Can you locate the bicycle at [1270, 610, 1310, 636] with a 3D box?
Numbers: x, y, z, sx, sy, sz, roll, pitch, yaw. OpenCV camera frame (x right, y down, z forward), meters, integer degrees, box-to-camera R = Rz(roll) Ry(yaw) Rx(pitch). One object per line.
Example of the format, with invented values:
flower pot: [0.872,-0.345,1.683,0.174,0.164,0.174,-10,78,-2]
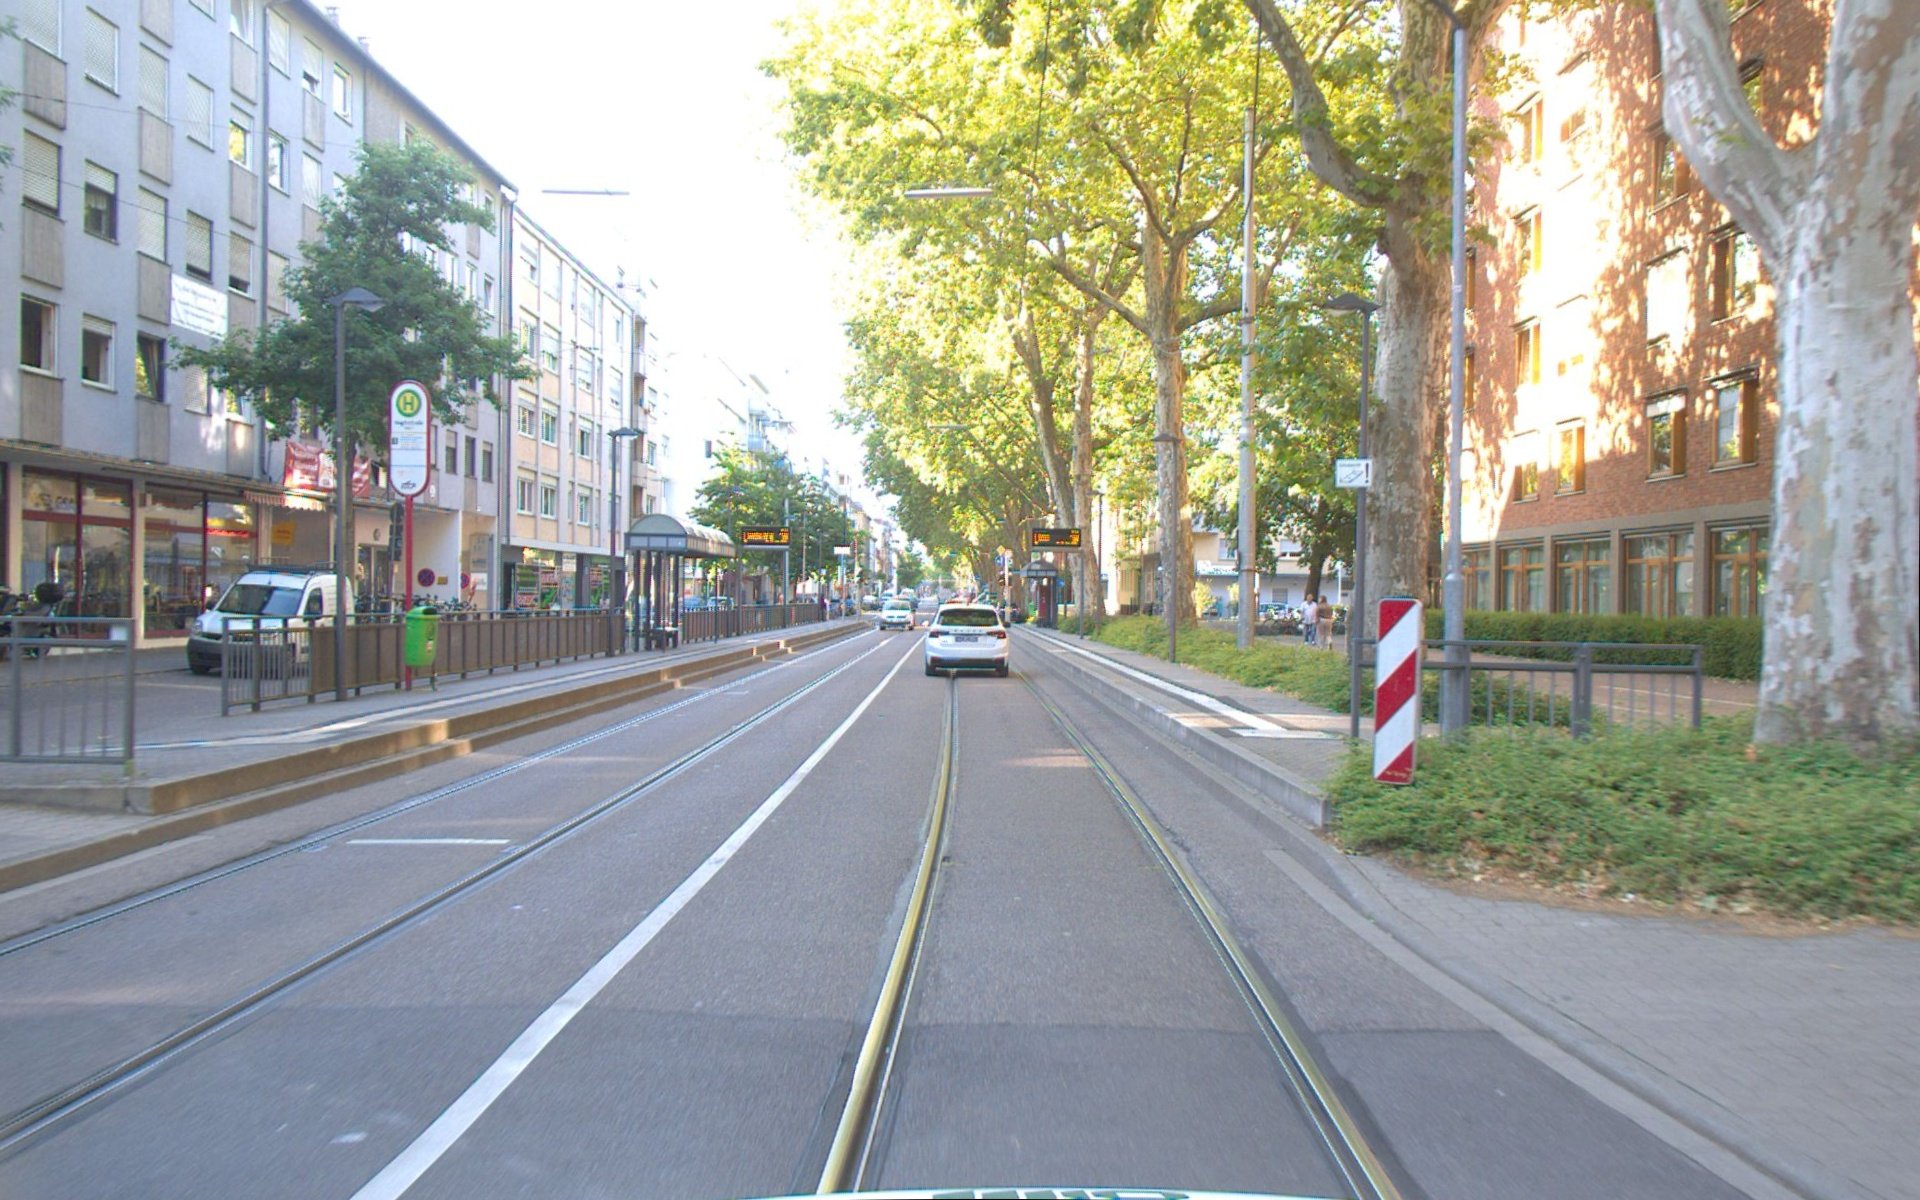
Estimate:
bicycle: [13.597,0.947,68.150,1.534,1.055,0.504,0,0,21]

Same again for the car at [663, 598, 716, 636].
car: [-12.030,0.725,73.705,1.644,1.575,3.999,3,0,0]

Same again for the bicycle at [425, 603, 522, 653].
bicycle: [-12.348,0.706,42.012,2.207,1.092,0.636,4,0,1]

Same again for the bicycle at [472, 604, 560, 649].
bicycle: [-12.227,0.733,45.570,2.207,1.092,0.636,4,0,1]

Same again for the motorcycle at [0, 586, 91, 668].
motorcycle: [-15.509,0.436,27.850,0.586,1.334,2.222,0,0,0]

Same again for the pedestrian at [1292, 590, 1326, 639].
pedestrian: [11.778,0.492,55.910,0.952,1.652,0.887,0,0,-1]

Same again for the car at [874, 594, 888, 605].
car: [-11.322,-0.038,237.643,1.752,1.540,4.000,0,0,0]

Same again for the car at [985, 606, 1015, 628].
car: [2.759,1.143,115.312,1.953,1.478,4.000,0,0,0]

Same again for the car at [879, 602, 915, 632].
car: [-3.117,0.820,82.596,1.659,1.444,4.000,0,0,0]

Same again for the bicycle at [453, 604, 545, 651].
bicycle: [-12.212,0.728,43.844,2.207,1.092,0.636,4,0,1]

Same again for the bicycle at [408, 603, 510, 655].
bicycle: [-12.191,0.703,40.267,2.207,1.092,0.636,4,0,1]

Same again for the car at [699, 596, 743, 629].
car: [-12.405,0.628,85.936,1.644,1.575,3.999,3,0,0]

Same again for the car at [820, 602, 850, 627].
car: [-8.152,0.934,108.269,1.644,1.575,3.999,3,0,0]

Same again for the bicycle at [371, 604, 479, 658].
bicycle: [-12.211,0.703,37.774,2.207,1.092,0.636,4,0,1]

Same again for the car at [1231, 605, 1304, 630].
car: [17.958,1.018,96.696,3.904,1.396,1.867,0,0,2]

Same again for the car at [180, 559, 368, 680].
car: [-11.947,0.322,29.072,1.653,1.974,4.000,0,0,0]

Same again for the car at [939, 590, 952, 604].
car: [-2.015,-0.433,235.761,1.828,1.925,4.000,0,0,0]

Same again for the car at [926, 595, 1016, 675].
car: [0.206,0.683,34.255,1.752,1.540,4.000,0,0,0]

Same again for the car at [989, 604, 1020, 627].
car: [2.963,1.029,110.228,1.953,1.478,4.000,0,0,0]

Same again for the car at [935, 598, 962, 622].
car: [-0.772,0.628,109.436,1.752,1.540,4.000,0,0,0]

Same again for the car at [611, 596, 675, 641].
car: [-11.930,0.686,62.442,1.561,1.575,4.000,3,0,0]

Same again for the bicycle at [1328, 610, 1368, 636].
bicycle: [15.835,0.924,67.428,1.534,1.055,0.479,0,0,21]

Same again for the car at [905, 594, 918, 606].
car: [-6.747,-0.009,229.925,1.752,1.540,4.000,0,0,0]

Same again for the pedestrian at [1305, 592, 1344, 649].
pedestrian: [10.812,0.606,49.067,0.952,1.652,0.887,0,0,-1]

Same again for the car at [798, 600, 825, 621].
car: [-11.435,0.804,127.741,1.644,1.575,3.999,3,0,0]

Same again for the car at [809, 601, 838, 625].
car: [-9.585,0.888,116.024,1.644,1.575,3.999,3,0,0]

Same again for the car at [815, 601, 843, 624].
car: [-9.490,0.906,120.147,1.644,1.575,3.999,3,0,0]

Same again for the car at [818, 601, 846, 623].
car: [-9.626,0.917,124.404,1.758,1.536,3.999,3,0,0]

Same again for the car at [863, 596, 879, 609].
car: [-11.008,0.290,203.787,1.752,1.540,4.000,0,0,0]

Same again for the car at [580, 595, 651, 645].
car: [-11.925,0.670,57.442,1.561,1.575,4.000,3,0,0]

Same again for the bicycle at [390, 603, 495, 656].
bicycle: [-12.194,0.699,39.003,2.207,1.092,0.636,4,0,1]

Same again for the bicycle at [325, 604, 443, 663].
bicycle: [-12.147,0.695,34.923,2.207,1.092,0.636,4,0,1]
